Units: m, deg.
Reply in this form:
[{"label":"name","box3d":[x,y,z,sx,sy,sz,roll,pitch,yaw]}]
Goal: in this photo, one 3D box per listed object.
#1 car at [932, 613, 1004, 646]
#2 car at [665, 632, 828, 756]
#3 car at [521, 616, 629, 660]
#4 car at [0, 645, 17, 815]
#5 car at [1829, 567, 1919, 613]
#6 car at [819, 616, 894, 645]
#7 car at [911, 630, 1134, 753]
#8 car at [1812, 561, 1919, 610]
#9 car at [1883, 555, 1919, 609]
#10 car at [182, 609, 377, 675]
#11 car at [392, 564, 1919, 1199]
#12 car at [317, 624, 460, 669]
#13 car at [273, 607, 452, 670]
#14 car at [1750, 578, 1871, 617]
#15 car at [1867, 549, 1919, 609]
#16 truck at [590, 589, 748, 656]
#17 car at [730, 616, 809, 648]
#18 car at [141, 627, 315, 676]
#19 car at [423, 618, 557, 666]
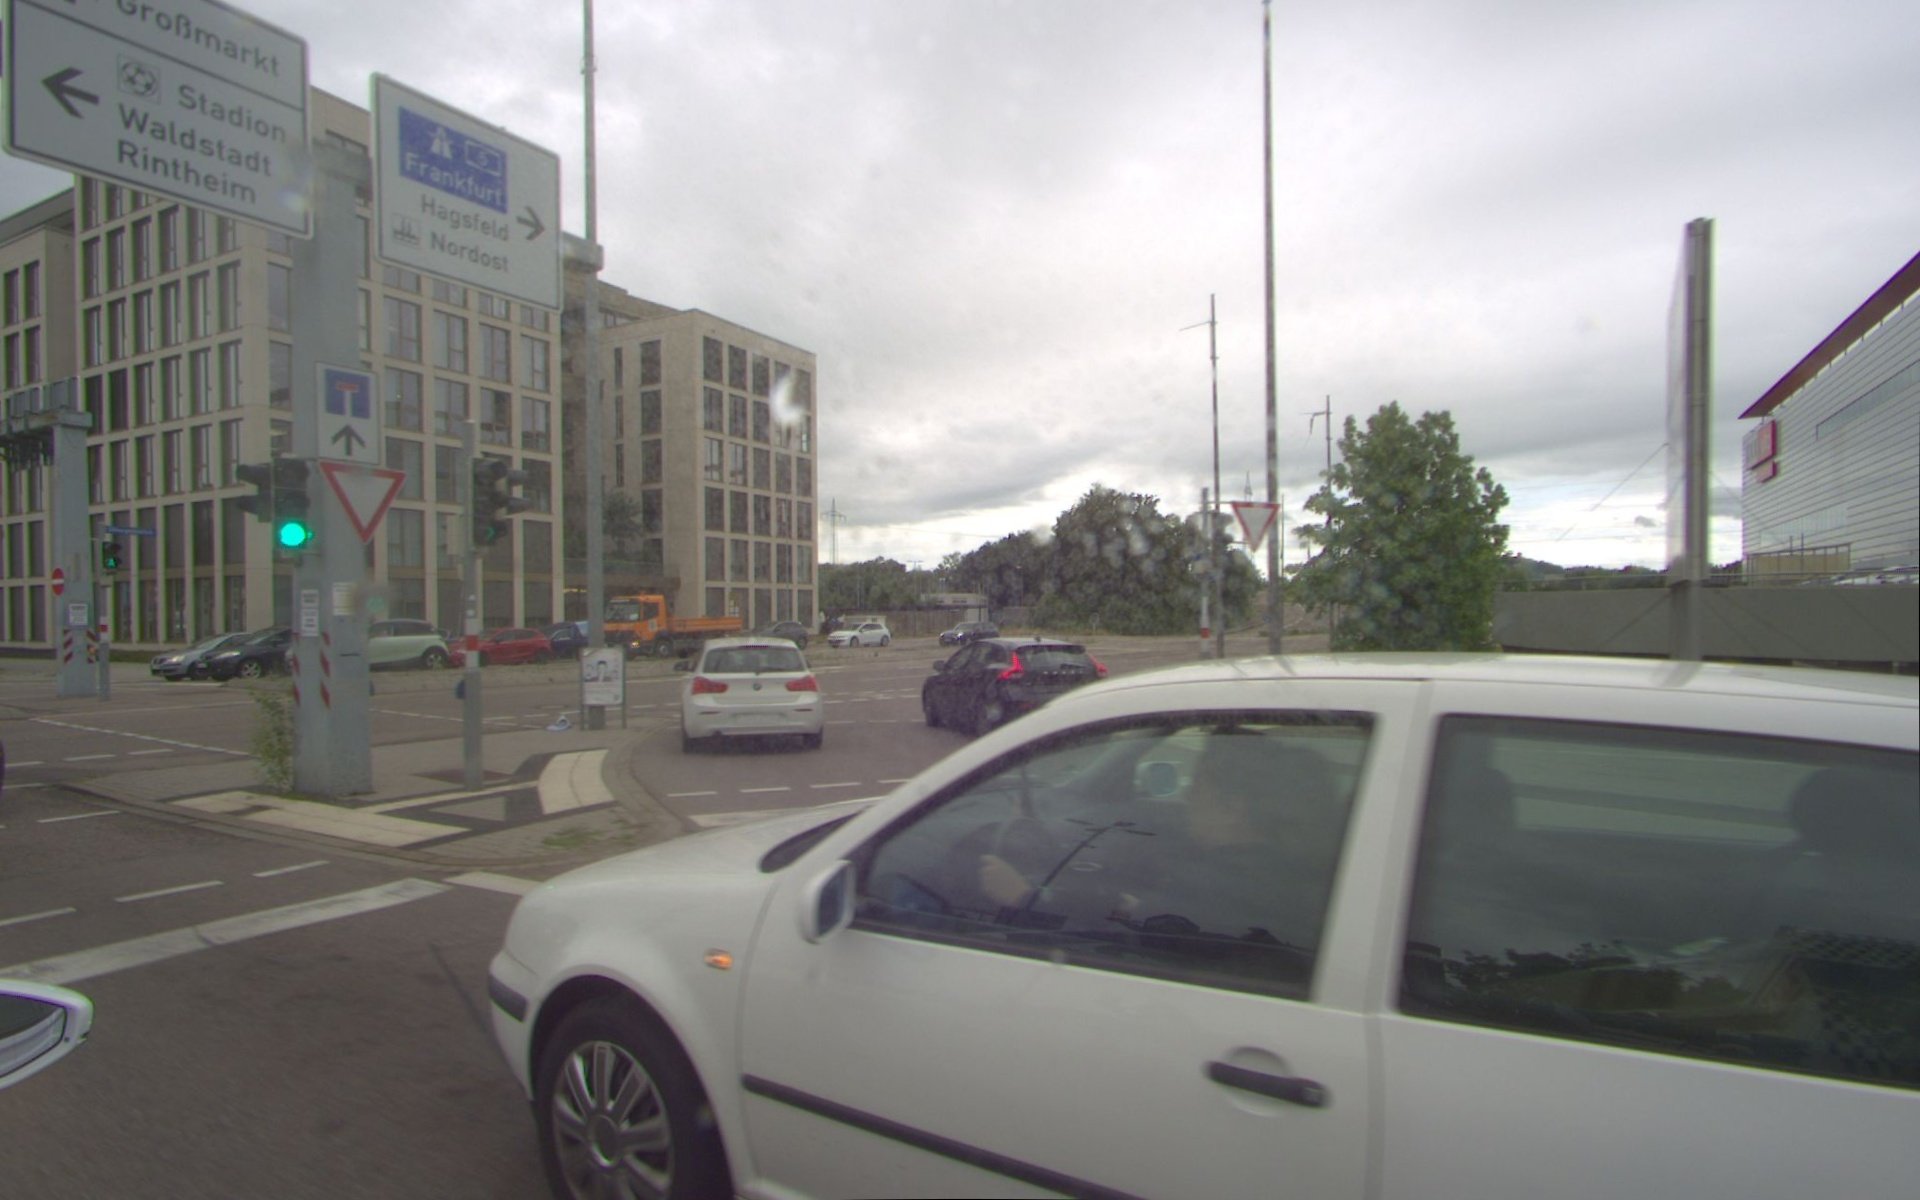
[{"label":"car","box3d":[0.502,1.753,57.312,1.974,1.791,4.396,-2,-3,36]},{"label":"car","box3d":[-3.107,1.209,13.924,1.803,1.428,4.192,0,-3,-18]},{"label":"car","box3d":[-16.623,1.680,43.411,1.969,1.791,4.135,-2,-3,28]},{"label":"car","box3d":[-10.065,1.128,8.759,3.591,1.433,1.783,-2,-3,32]},{"label":"car","box3d":[38.169,-0.412,40.553,4.199,1.696,1.769,-2,-3,32]},{"label":"car","box3d":[-6.127,1.866,59.848,1.977,1.678,4.327,-2,-3,40]},{"label":"car","box3d":[0.735,1.207,14.733,1.872,1.468,4.171,1,-1,-18]},{"label":"car","box3d":[35.771,-0.558,38.589,4.199,1.696,1.769,-2,-3,32]},{"label":"car","box3d":[33.253,-0.639,32.728,4.199,1.696,1.769,-2,-3,32]},{"label":"car","box3d":[-20.126,1.266,29.815,1.969,1.791,4.407,-2,-3,28]},{"label":"car","box3d":[0.584,0.782,2.495,3.948,1.496,1.830,-2,-3,32]},{"label":"car","box3d":[-20.409,1.663,35.919,1.843,1.509,4.135,-2,-3,28]},{"label":"car","box3d":[-17.017,1.141,28.751,1.875,1.663,4.056,-2,-3,26]},{"label":"car","box3d":[41.150,-0.089,48.569,4.199,1.696,1.769,-2,-3,32]},{"label":"car","box3d":[35.230,-0.780,35.691,3.945,2.039,1.990,-2,-3,33]},{"label":"truck","box3d":[-12.531,1.063,43.719,2.779,2.671,6.649,-2,-3,29]},{"label":"car","box3d":[-10.344,1.793,54.618,1.972,1.678,4.099,-2,-3,33]},{"label":"car","box3d":[-22.887,1.616,31.495,1.724,1.450,4.084,-2,-3,28]},{"label":"car","box3d":[-16.791,1.530,35.953,1.970,1.621,3.986,-2,-3,28]}]
